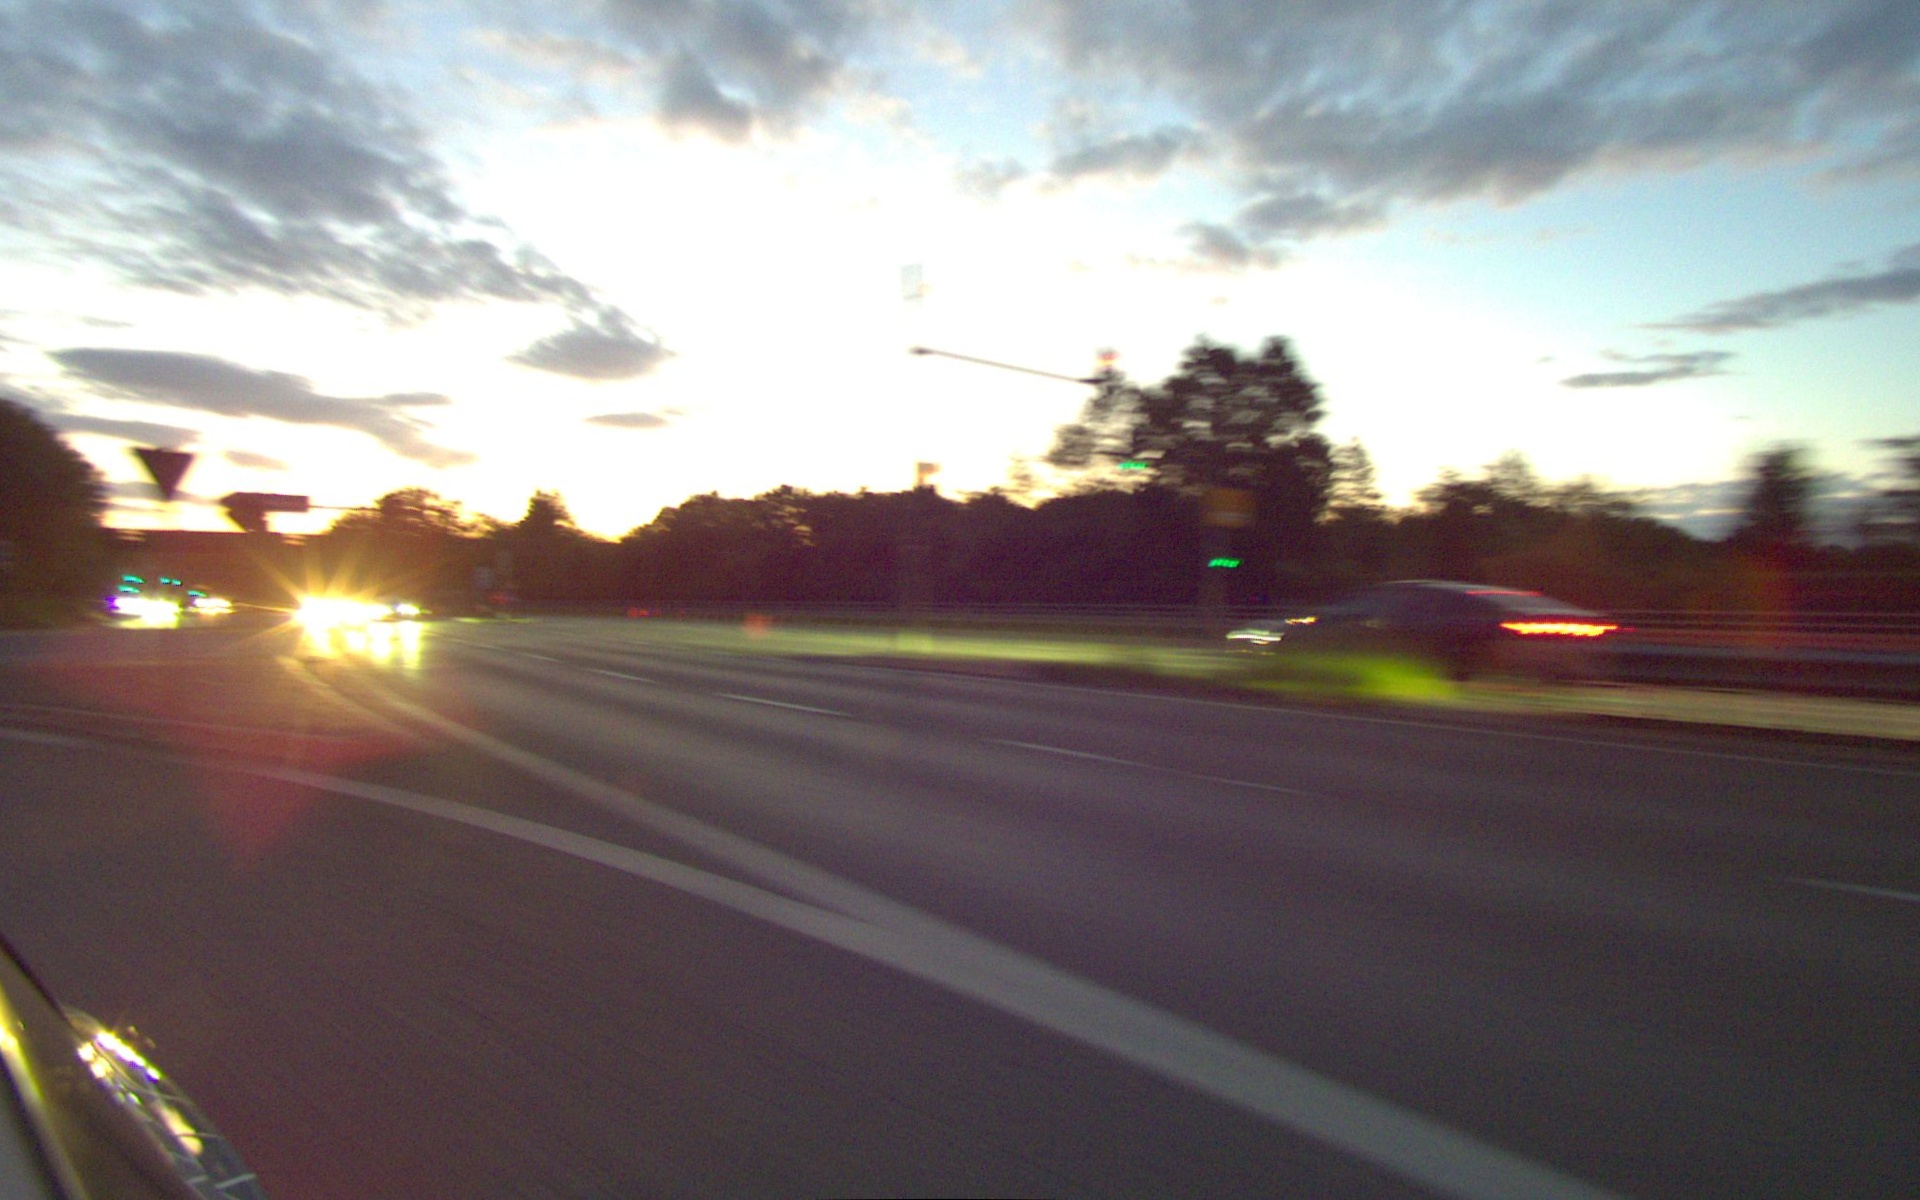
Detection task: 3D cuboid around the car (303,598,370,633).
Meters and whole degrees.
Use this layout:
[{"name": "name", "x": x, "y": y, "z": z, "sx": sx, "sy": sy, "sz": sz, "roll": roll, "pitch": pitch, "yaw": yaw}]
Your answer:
[{"name": "car", "x": -28.153, "y": 0.711, "z": 45.619, "sx": 1.968, "sy": 1.464, "sz": 4.006, "roll": 2, "pitch": -2, "yaw": -40}]

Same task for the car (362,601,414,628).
[{"name": "car", "x": -32.733, "y": 0.784, "z": 57.879, "sx": 1.967, "sy": 1.464, "sz": 4.745, "roll": 0, "pitch": 0, "yaw": -37}]

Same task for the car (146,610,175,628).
[{"name": "car", "x": -81.822, "y": 1.945, "z": 103.581, "sx": 1.975, "sy": 1.741, "sz": 4.011, "roll": 0, "pitch": 0, "yaw": -33}]

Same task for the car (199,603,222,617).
[{"name": "car", "x": -92.292, "y": 1.241, "z": 124.630, "sx": 2.025, "sy": 1.608, "sz": 4.011, "roll": 0, "pitch": 0, "yaw": -32}]

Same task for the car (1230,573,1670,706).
[{"name": "car", "x": 6.363, "y": 0.471, "z": 13.776, "sx": 1.968, "sy": 1.464, "sz": 5.057, "roll": 1, "pitch": -1, "yaw": -38}]

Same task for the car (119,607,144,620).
[{"name": "car", "x": -107.416, "y": 1.785, "z": 131.201, "sx": 4.001, "sy": 1.608, "sz": 1.971, "roll": -1, "pitch": 0, "yaw": 44}]

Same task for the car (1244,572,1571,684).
[{"name": "car", "x": 7.643, "y": 0.412, "z": 17.744, "sx": 1.968, "sy": 1.694, "sz": 4.881, "roll": 1, "pitch": 0, "yaw": -40}]

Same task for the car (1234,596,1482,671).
[{"name": "car", "x": 8.623, "y": 0.702, "z": 22.311, "sx": 1.968, "sy": 1.464, "sz": 4.743, "roll": 1, "pitch": -2, "yaw": -39}]
